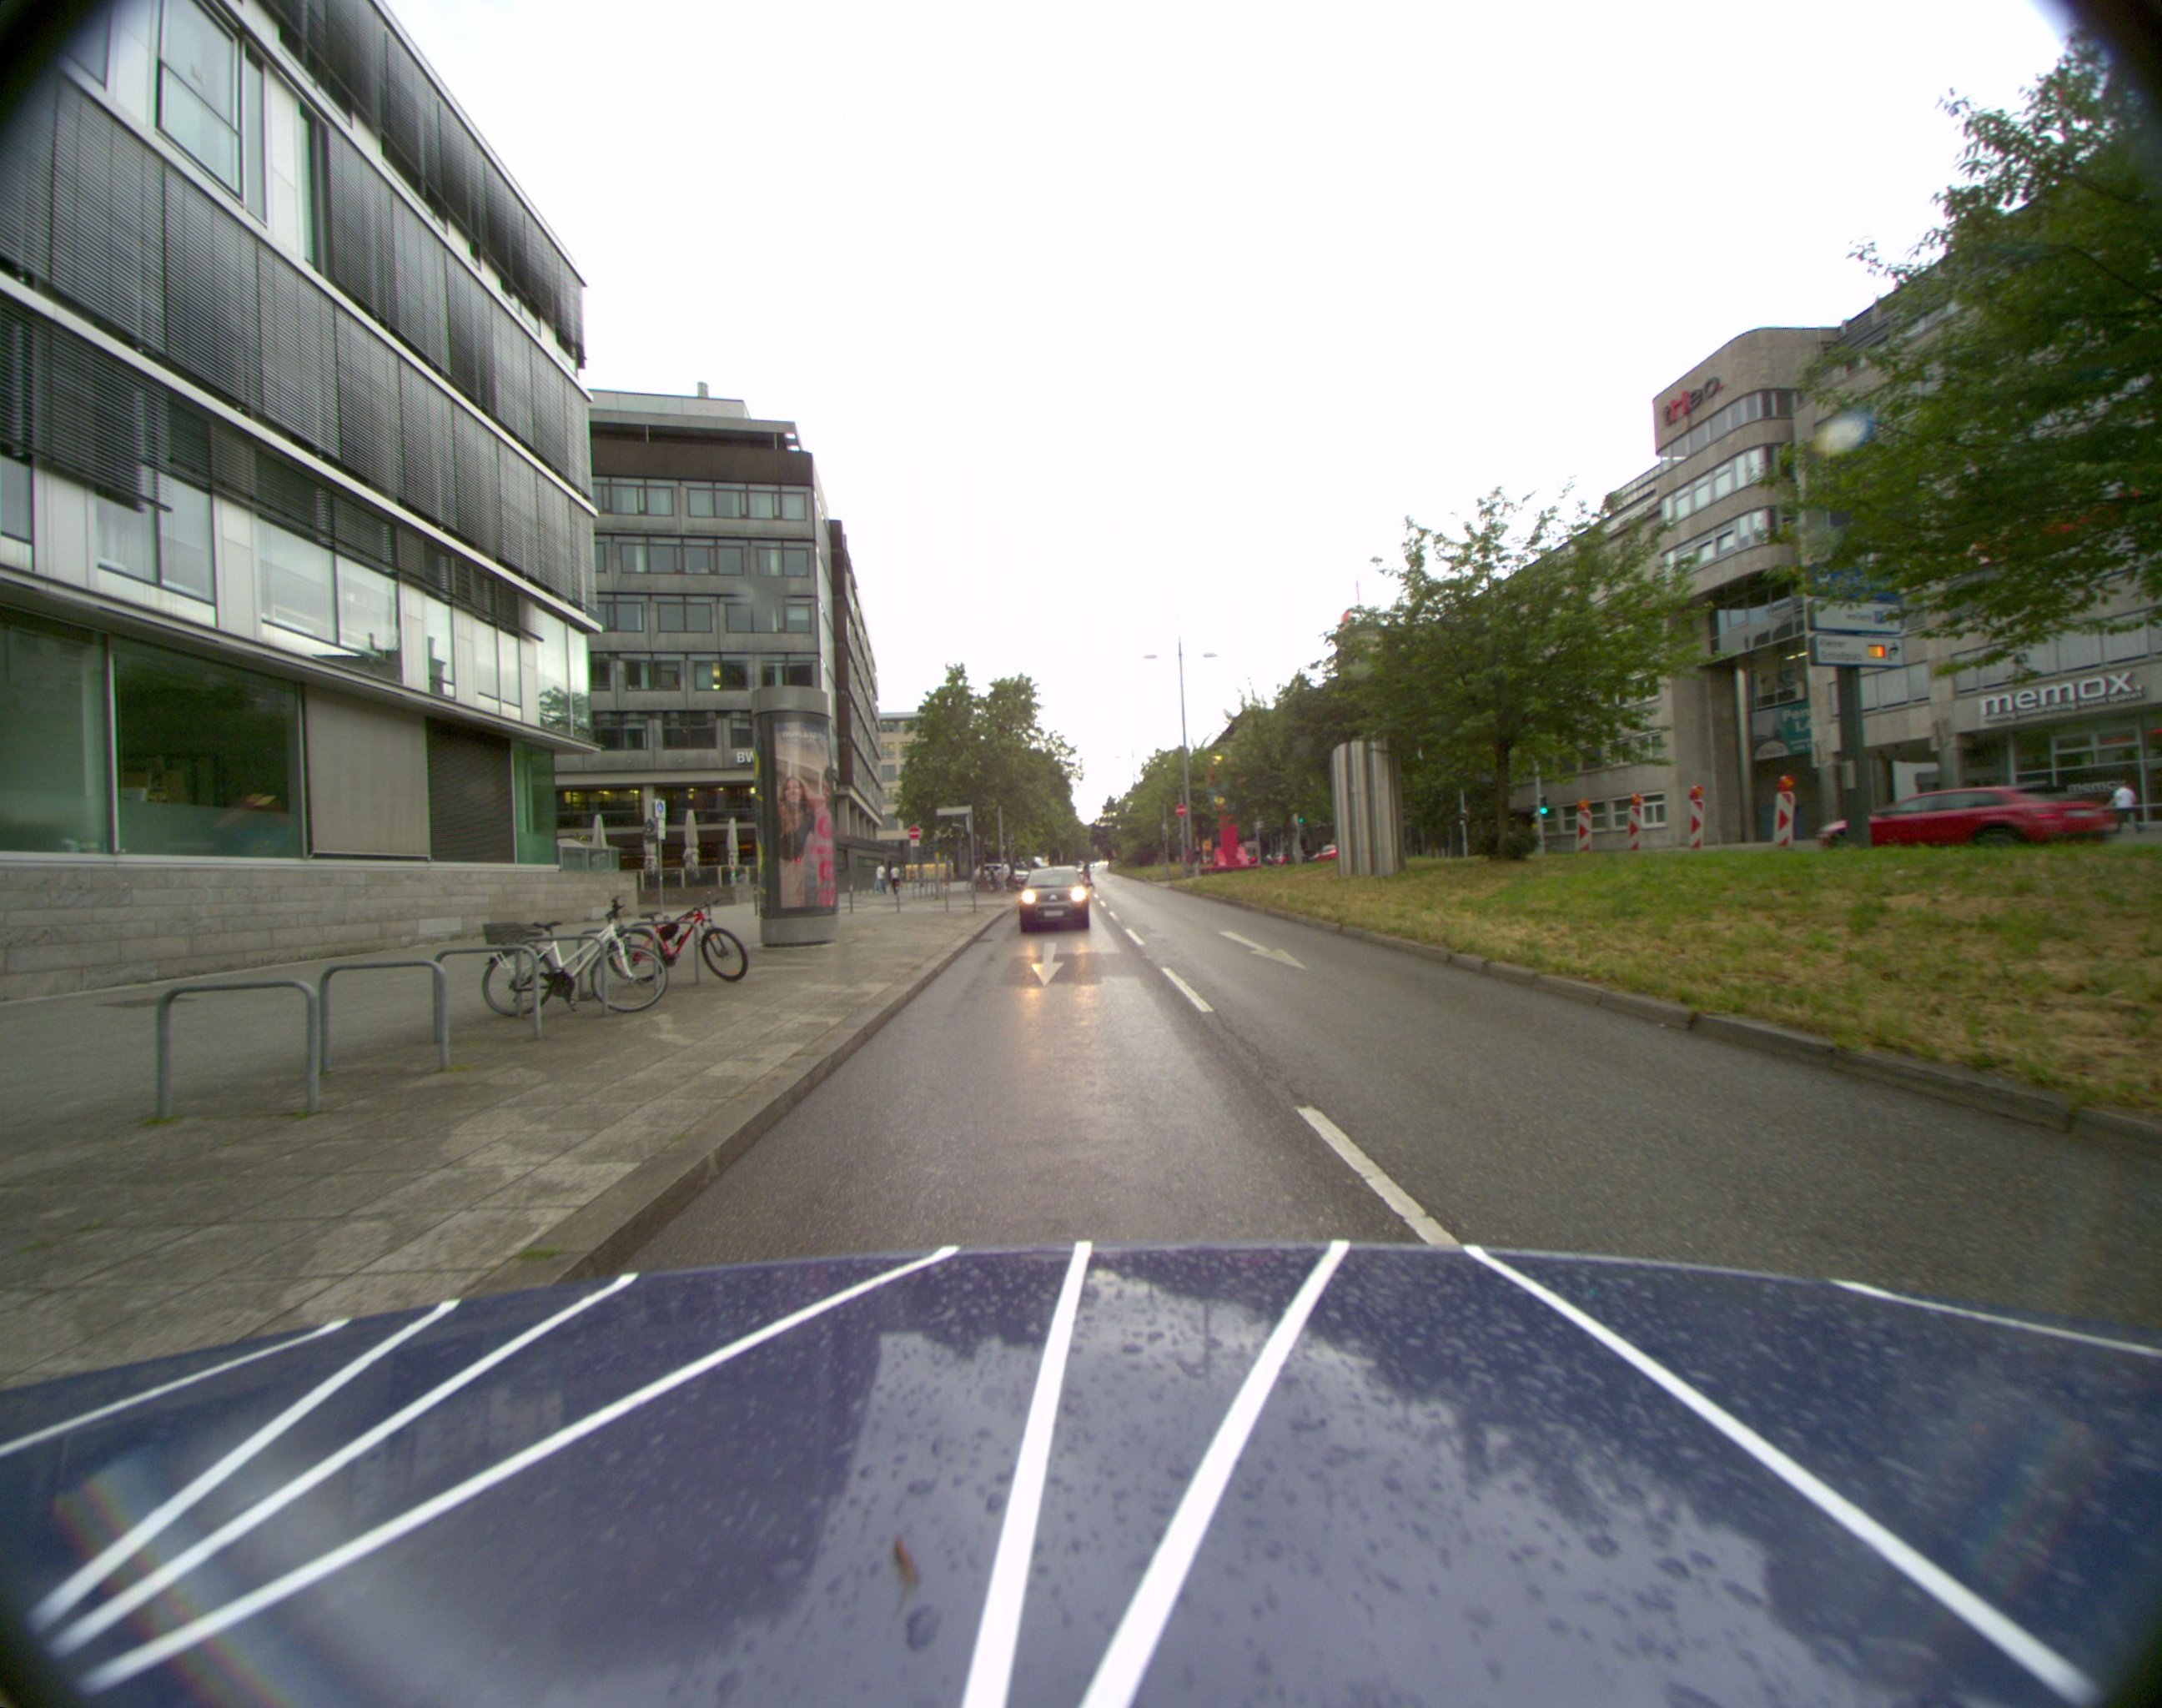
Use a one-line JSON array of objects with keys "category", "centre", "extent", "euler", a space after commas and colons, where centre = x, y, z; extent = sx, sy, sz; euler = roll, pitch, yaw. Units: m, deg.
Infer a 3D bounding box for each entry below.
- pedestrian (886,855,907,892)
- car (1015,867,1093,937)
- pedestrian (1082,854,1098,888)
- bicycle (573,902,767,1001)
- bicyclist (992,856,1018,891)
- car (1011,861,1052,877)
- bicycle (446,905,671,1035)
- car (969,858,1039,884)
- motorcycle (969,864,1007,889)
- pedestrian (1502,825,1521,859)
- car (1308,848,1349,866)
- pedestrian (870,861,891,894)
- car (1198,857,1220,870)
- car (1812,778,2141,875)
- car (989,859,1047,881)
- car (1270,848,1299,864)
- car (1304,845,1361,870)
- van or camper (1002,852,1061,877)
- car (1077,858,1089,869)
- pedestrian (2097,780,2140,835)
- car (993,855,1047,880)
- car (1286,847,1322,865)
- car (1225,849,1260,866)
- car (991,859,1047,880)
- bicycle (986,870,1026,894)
[{"category": "pedestrian", "centre": [-10.718, 1.124, 44.046], "extent": [0.851, 2.027, 0.753], "euler": [-4, 0, 7]}, {"category": "car", "centre": [-0.664, 1.080, 18.571], "extent": [1.634, 1.408, 3.834], "euler": [-3, 0, -3]}, {"category": "pedestrian", "centre": [0.473, 0.843, 38.197], "extent": [0.528, 1.675, 0.722], "euler": [-4, 0, 15]}, {"category": "bicycle", "centre": [-5.137, 1.208, 9.576], "extent": [1.988, 1.097, 0.808], "euler": [-2, 0, 4]}, {"category": "bicyclist", "centre": [-4.081, 1.017, 40.817], "extent": [1.079, 1.739, 0.812], "euler": [-6, 2, 1]}, {"category": "car", "centre": [-5.394, 1.653, 82.464], "extent": [4.052, 1.415, 1.711], "euler": [-4, 0, 29]}, {"category": "bicycle", "centre": [-5.274, 1.160, 7.723], "extent": [1.840, 1.190, 0.660], "euler": [-2, 0, 4]}, {"category": "car", "centre": [-5.648, 1.241, 55.370], "extent": [4.792, 1.640, 1.920], "euler": [-4, 0, 30]}, {"category": "motorcycle", "centre": [-5.631, 1.372, 45.827], "extent": [2.087, 1.349, 0.677], "euler": [-4, 0, 7]}, {"category": "pedestrian", "centre": [23.286, -0.641, 41.065], "extent": [0.529, 1.777, 0.721], "euler": [-3, 0, 1]}, {"category": "car", "centre": [21.675, 0.278, 66.684], "extent": [1.867, 1.421, 4.565], "euler": [-2, -1, -3]}, {"category": "pedestrian", "centre": [-11.584, 1.362, 43.911], "extent": [0.802, 1.857, 0.899], "euler": [-4, 0, 7]}, {"category": "car", "centre": [14.636, 1.081, 86.851], "extent": [1.794, 1.406, 4.000], "euler": [-2, -1, -1]}, {"category": "car", "centre": [18.355, -0.491, 15.913], "extent": [1.951, 1.690, 3.997], "euler": [-3, 0, -8]}, {"category": "car", "centre": [-5.233, 1.341, 63.351], "extent": [4.347, 1.528, 1.920], "euler": [-4, 0, 27]}, {"category": "car", "centre": [20.560, 0.262, 76.860], "extent": [1.690, 1.493, 3.692], "euler": [-2, -1, -3]}, {"category": "car", "centre": [15.811, 0.262, 47.999], "extent": [1.867, 1.421, 4.131], "euler": [-2, -1, -5]}, {"category": "van or camper", "centre": [-5.604, 1.233, 86.005], "extent": [6.251, 2.432, 2.319], "euler": [-4, 0, 30]}, {"category": "car", "centre": [0.298, 1.623, 128.156], "extent": [1.791, 1.736, 4.575], "euler": [-2, -1, -3]}, {"category": "pedestrian", "centre": [34.851, -1.556, 25.531], "extent": [0.721, 1.777, 0.529], "euler": [-3, 0, -9]}, {"category": "car", "centre": [-5.544, 1.232, 69.018], "extent": [4.507, 1.981, 1.925], "euler": [-4, 0, 29]}, {"category": "car", "centre": [21.071, 0.187, 71.871], "extent": [1.867, 1.612, 4.467], "euler": [-2, -1, -3]}, {"category": "car", "centre": [14.612, 0.363, 68.968], "extent": [1.867, 1.421, 4.565], "euler": [-2, -1, -3]}, {"category": "car", "centre": [-5.380, 1.364, 66.136], "extent": [4.381, 1.528, 1.920], "euler": [-4, 0, 27]}, {"category": "bicycle", "centre": [-4.009, 1.494, 40.809], "extent": [1.976, 1.132, 0.777], "euler": [-3, 0, 1]}]
